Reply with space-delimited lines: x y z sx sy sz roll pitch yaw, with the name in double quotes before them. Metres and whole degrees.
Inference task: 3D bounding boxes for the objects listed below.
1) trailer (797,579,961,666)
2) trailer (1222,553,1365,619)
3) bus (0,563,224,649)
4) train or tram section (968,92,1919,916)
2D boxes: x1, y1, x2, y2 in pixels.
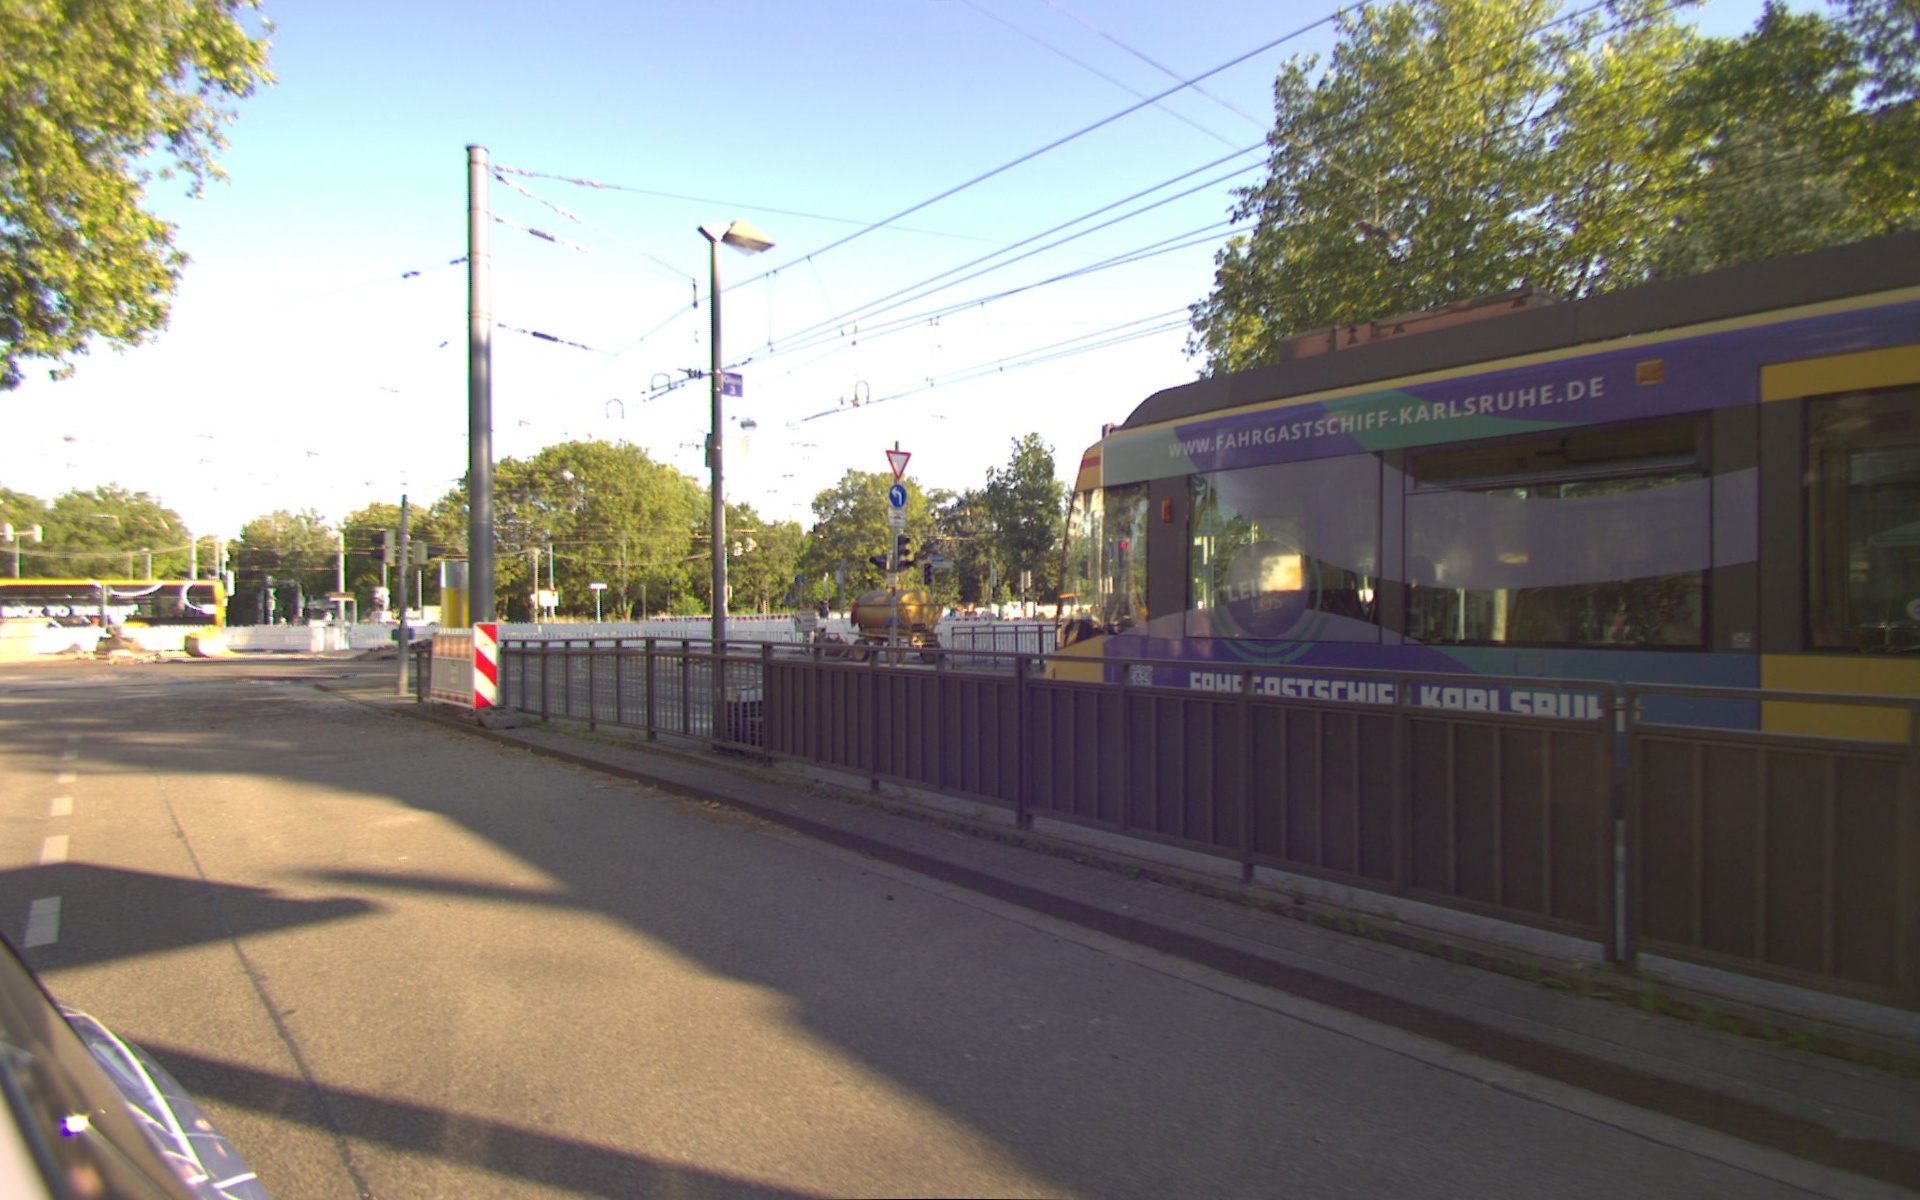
"trailer" -2.237 0.572 27.159 4.346 2.131 1.972 -1 -1 43
"trailer" 20.459 -0.820 61.889 9.088 3.826 2.905 0 -1 -30
"bus" -41.336 0.276 46.389 12.108 3.751 3.093 0 -1 -40
"train or tram section" 5.437 -0.419 5.013 2.814 3.560 13.419 0 -1 -40
